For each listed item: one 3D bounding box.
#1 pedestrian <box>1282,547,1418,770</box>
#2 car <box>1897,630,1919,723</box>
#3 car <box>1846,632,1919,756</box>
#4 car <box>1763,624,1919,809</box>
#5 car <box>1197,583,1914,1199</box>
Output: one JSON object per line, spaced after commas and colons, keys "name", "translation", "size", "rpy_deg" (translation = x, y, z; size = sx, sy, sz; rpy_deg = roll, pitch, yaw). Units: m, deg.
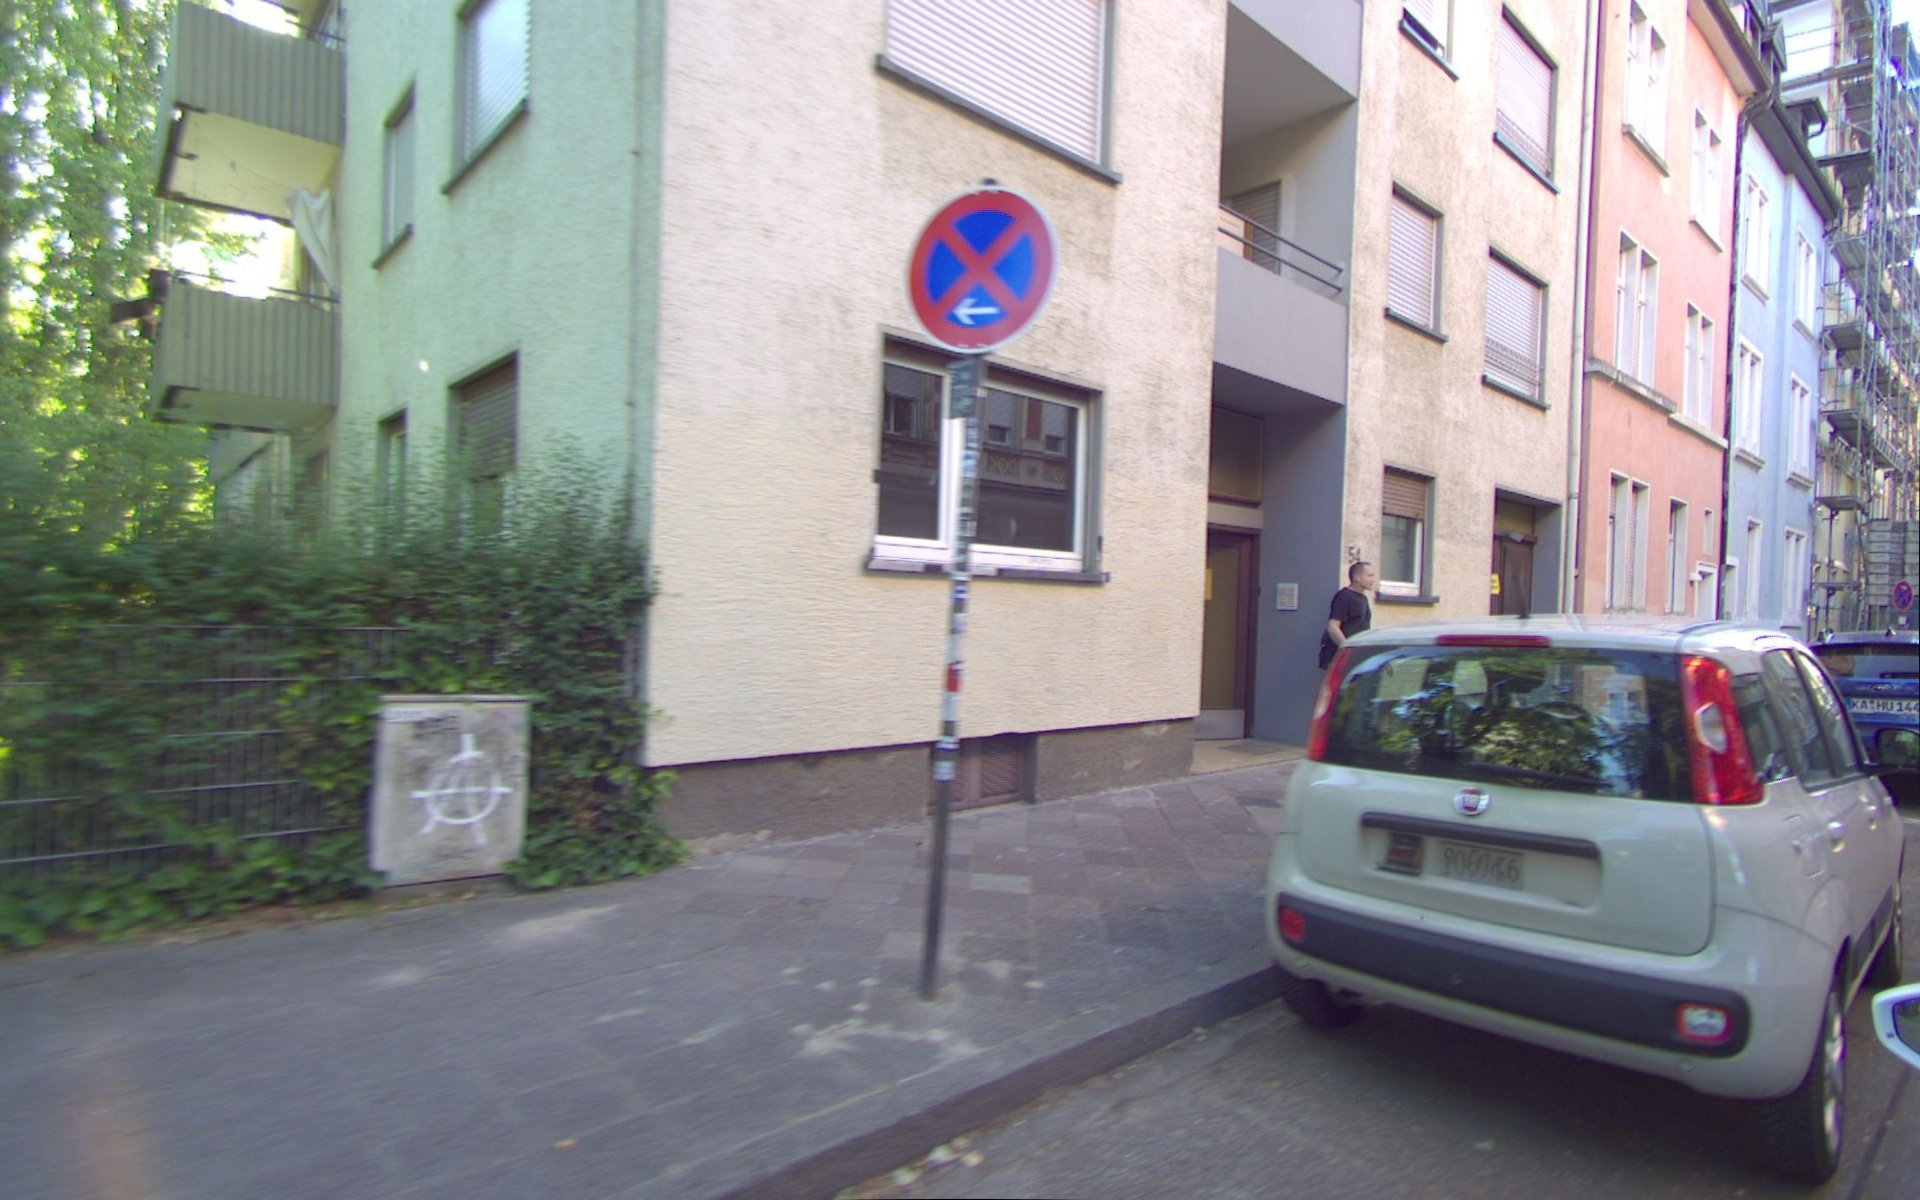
{"name": "pedestrian", "translation": [3.473, 0.497, 8.965], "size": [0.668, 1.864, 0.899], "rpy_deg": [2, 0, -41]}
{"name": "car", "translation": [17.627, 1.325, 17.390], "size": [4.574, 1.497, 1.659], "rpy_deg": [2, -1, -42]}
{"name": "car", "translation": [13.737, 1.256, 13.955], "size": [4.382, 1.532, 1.659], "rpy_deg": [2, -1, -42]}
{"name": "car", "translation": [9.582, 1.064, 10.203], "size": [4.348, 1.560, 1.712], "rpy_deg": [2, -2, -44]}
{"name": "car", "translation": [2.781, 0.796, 4.240], "size": [3.843, 1.560, 1.658], "rpy_deg": [2, -1, -44]}
